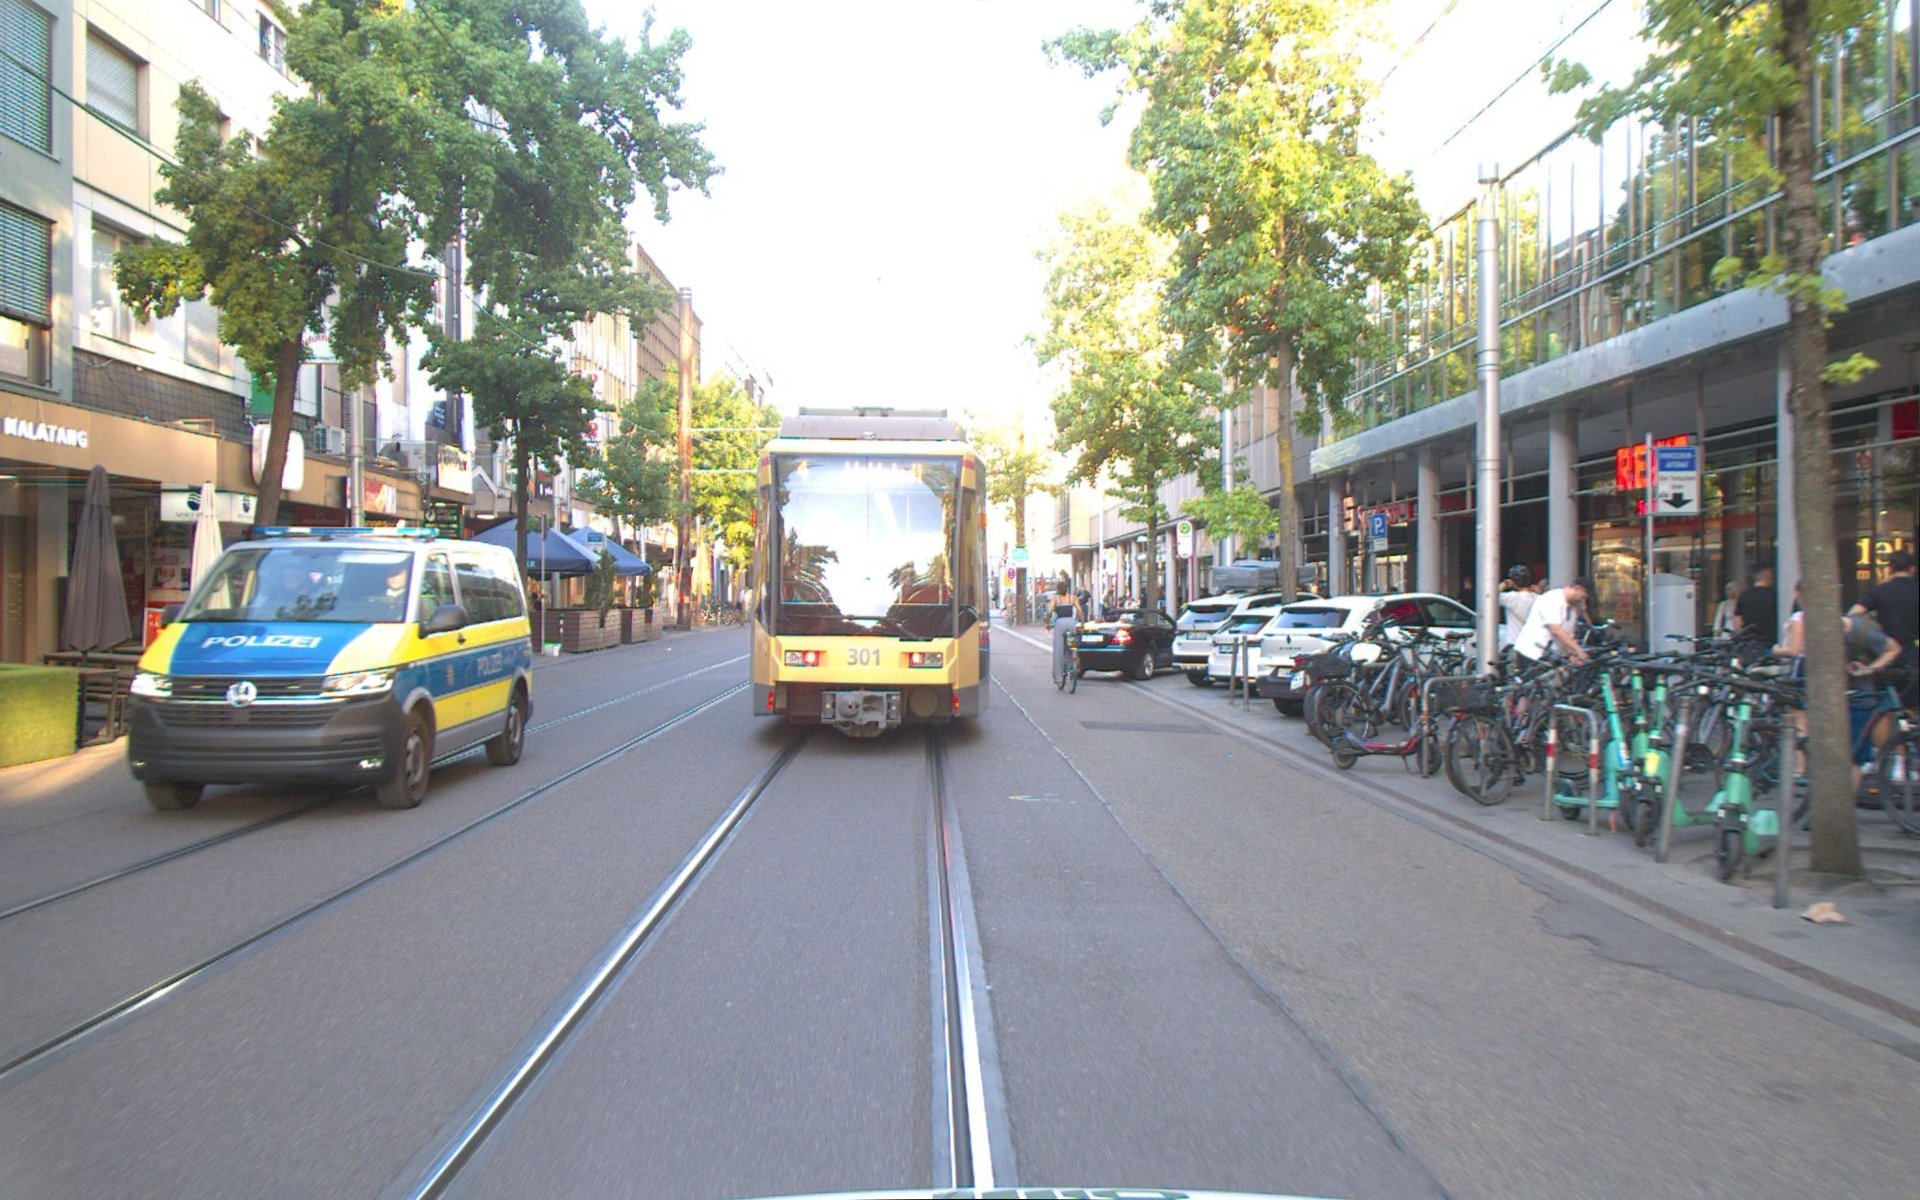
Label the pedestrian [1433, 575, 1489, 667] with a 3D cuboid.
[{"bbox_3d":[10.117,0.407,33.428,0.860,1.813,0.755,-2,1,-2],"label":"pedestrian"}]

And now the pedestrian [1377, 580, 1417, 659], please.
[{"bbox_3d":[9.379,0.410,35.508,0.584,1.644,0.755,-2,1,-2],"label":"pedestrian"}]

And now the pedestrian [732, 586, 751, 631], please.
[{"bbox_3d":[-9.467,0.351,71.728,0.736,1.913,0.575,3,-1,-6],"label":"pedestrian"}]

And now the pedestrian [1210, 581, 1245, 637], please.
[{"bbox_3d":[9.384,0.314,58.018,1.032,1.909,0.929,-2,1,-2],"label":"pedestrian"}]

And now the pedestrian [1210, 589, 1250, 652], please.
[{"bbox_3d":[7.096,0.532,43.536,0.860,1.609,0.755,1,1,-2],"label":"pedestrian"}]

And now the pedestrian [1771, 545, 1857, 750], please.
[{"bbox_3d":[7.930,0.425,15.359,0.645,1.844,0.716,-2,0,28],"label":"pedestrian"}]

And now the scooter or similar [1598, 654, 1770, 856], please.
[{"bbox_3d":[4.776,0.982,10.884,1.319,1.202,0.492,-1,0,-39],"label":"scooter or similar"}]

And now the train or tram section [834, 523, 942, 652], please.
[{"bbox_3d":[-2.236,-0.342,51.999,2.983,3.585,10.526,1,0,-2],"label":"train or tram section"}]

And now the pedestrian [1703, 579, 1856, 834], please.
[{"bbox_3d":[5.538,0.696,11.225,0.773,1.654,0.770,-2,0,17],"label":"pedestrian"}]

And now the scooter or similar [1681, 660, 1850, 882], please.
[{"bbox_3d":[4.916,0.992,10.059,0.569,1.170,1.393,0,1,42],"label":"scooter or similar"}]

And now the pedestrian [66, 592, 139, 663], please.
[{"bbox_3d":[-14.108,0.448,27.224,0.762,1.114,0.729,3,-1,-2],"label":"pedestrian"}]

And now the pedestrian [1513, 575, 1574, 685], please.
[{"bbox_3d":[9.308,0.479,26.393,0.666,1.729,0.805,1,-1,-2],"label":"pedestrian"}]

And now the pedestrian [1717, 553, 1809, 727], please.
[{"bbox_3d":[8.737,0.428,17.995,0.776,1.844,0.658,-2,0,34],"label":"pedestrian"}]

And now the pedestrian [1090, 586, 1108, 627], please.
[{"bbox_3d":[6.280,0.306,74.865,0.733,1.813,0.891,1,-1,1],"label":"pedestrian"}]

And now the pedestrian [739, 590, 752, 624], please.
[{"bbox_3d":[-11.120,0.359,85.842,0.563,1.716,0.551,3,-1,-12],"label":"pedestrian"}]

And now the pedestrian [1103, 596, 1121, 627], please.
[{"bbox_3d":[6.913,0.510,75.130,0.724,1.351,0.720,-2,1,-1],"label":"pedestrian"}]

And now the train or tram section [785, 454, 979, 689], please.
[{"bbox_3d":[-1.399,-0.430,30.698,2.947,3.585,10.397,1,0,-2],"label":"train or tram section"}]

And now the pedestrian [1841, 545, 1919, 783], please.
[{"bbox_3d":[7.644,0.490,13.301,0.869,1.844,0.935,-2,0,34],"label":"pedestrian"}]

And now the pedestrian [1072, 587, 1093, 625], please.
[{"bbox_3d":[5.793,0.289,78.056,0.870,1.813,0.751,1,-1,-3],"label":"pedestrian"}]

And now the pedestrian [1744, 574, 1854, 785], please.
[{"bbox_3d":[6.813,0.626,13.421,0.691,1.653,0.658,-2,0,34],"label":"pedestrian"}]

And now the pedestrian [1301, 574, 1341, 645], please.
[{"bbox_3d":[9.627,0.250,44.145,0.816,1.868,0.943,-1,1,-1],"label":"pedestrian"}]

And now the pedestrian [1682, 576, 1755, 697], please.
[{"bbox_3d":[10.099,0.479,22.034,0.666,1.575,0.664,1,-1,-2],"label":"pedestrian"}]

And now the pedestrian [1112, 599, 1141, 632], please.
[{"bbox_3d":[6.999,0.638,69.555,1.089,1.351,0.926,-2,0,-1],"label":"pedestrian"}]

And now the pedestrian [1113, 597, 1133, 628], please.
[{"bbox_3d":[7.207,0.549,73.331,0.789,1.351,0.626,-2,1,-1],"label":"pedestrian"}]

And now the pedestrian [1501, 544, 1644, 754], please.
[{"bbox_3d":[5.973,0.451,16.168,0.933,1.947,0.860,-3,1,-13],"label":"pedestrian"}]

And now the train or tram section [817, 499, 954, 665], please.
[{"bbox_3d":[-1.820,-0.390,41.312,2.943,3.585,10.840,0,0,-2],"label":"train or tram section"}]

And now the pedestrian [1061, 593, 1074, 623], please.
[{"bbox_3d":[6.307,0.479,97.194,0.687,1.714,0.680,-2,1,-2],"label":"pedestrian"}]

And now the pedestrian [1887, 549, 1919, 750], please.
[{"bbox_3d":[9.083,0.442,15.251,0.644,1.844,0.717,-2,0,3],"label":"pedestrian"}]

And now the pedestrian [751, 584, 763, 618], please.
[{"bbox_3d":[-10.458,0.063,85.151,0.540,1.716,0.575,3,-1,-6],"label":"pedestrian"}]

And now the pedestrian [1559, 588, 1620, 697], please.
[{"bbox_3d":[10.200,0.685,26.816,0.649,1.729,0.805,1,-1,-2],"label":"pedestrian"}]

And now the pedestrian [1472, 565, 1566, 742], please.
[{"bbox_3d":[6.080,0.558,17.999,0.811,1.844,0.591,-4,2,-40],"label":"pedestrian"}]

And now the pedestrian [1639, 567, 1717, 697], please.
[{"bbox_3d":[9.752,0.418,22.491,0.666,1.728,0.805,1,1,-2],"label":"pedestrian"}]

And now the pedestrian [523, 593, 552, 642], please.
[{"bbox_3d":[-11.356,0.479,44.453,0.547,1.278,0.605,3,-1,-1],"label":"pedestrian"}]

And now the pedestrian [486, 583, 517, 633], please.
[{"bbox_3d":[-11.987,0.204,43.243,0.591,1.278,0.560,3,-1,0],"label":"pedestrian"}]

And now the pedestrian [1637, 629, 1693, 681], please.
[{"bbox_3d":[11.148,0.865,26.160,0.594,0.796,0.664,0,-1,1],"label":"pedestrian"}]

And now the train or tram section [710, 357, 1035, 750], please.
[{"bbox_3d":[-0.995,-0.397,20.321,2.956,3.585,10.365,0,0,-2],"label":"train or tram section"}]

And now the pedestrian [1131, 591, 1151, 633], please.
[{"bbox_3d":[7.463,0.497,68.171,0.687,1.666,0.645,-2,1,-2],"label":"pedestrian"}]

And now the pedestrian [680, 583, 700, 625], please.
[{"bbox_3d":[-13.109,0.201,80.326,0.832,2.049,0.921,1,-1,-2],"label":"pedestrian"}]
